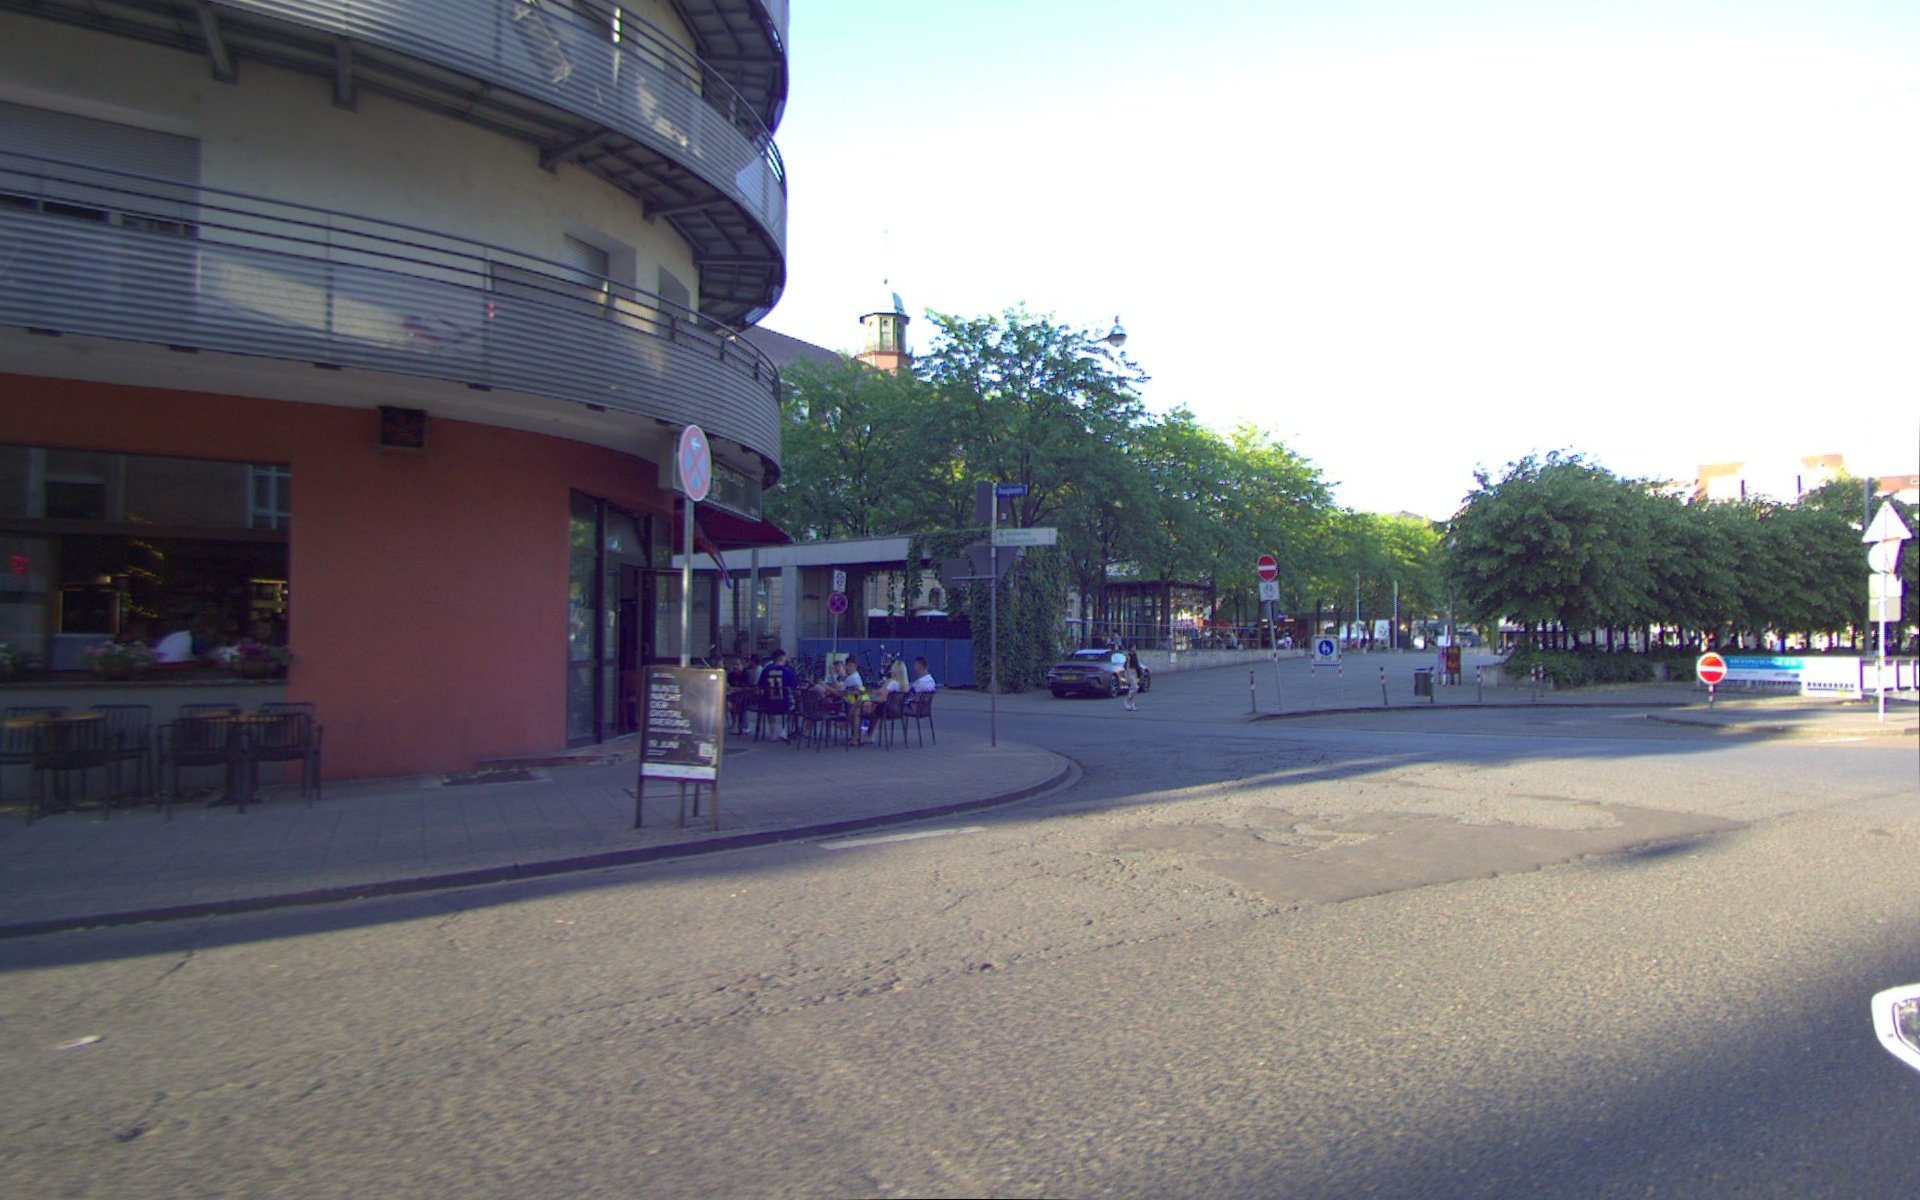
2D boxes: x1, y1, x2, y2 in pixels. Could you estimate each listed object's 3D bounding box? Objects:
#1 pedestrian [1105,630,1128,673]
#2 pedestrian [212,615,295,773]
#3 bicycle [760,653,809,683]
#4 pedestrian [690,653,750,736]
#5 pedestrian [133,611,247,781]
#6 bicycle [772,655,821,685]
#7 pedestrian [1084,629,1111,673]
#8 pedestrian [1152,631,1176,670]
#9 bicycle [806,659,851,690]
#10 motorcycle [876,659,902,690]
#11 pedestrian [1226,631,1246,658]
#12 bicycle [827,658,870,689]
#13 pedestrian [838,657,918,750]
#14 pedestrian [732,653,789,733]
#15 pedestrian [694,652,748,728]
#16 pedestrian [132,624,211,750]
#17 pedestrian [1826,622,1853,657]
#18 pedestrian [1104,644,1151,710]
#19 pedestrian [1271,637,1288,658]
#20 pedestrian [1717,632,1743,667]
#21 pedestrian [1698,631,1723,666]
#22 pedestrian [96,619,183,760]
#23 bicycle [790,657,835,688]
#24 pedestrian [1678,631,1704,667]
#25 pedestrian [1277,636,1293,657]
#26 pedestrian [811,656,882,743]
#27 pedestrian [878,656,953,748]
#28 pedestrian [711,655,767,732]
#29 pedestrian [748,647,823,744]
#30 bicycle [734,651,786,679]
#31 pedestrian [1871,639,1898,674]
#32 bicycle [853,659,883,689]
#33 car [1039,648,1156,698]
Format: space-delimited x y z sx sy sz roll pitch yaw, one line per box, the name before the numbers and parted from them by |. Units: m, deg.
pedestrian | 6.005 1.983 38.600 0.612 1.607 0.699 -1 -4 37
pedestrian | -7.560 0.994 10.778 0.591 1.615 0.669 3 -3 -29
bicycle | -6.078 2.352 34.876 0.503 0.935 1.796 -1 -1 39
pedestrian | -3.814 1.488 15.951 0.696 1.263 0.615 3 -4 -39
pedestrian | -7.656 0.945 10.026 0.741 1.615 0.594 3 -3 -28
bicycle | -5.596 2.391 34.475 0.503 0.935 1.796 -1 -1 39
pedestrian | 5.135 1.914 37.428 0.679 1.607 0.767 -1 -4 37
pedestrian | 8.521 2.095 41.855 0.778 1.607 0.652 -1 -4 36
bicycle | -4.369 2.456 33.494 0.502 0.935 1.801 -1 -1 30
motorcycle | -2.248 2.378 32.143 0.500 0.892 1.806 0 -1 7
pedestrian | 13.350 2.167 48.630 0.778 1.296 0.652 -1 -4 36
bicycle | -3.668 2.415 33.207 0.501 0.935 1.802 -1 -1 27
pedestrian | -1.166 1.441 14.233 0.761 1.258 0.891 3 -4 -38
pedestrian | -3.271 1.512 16.471 0.696 1.263 0.615 3 -4 -39
pedestrian | -4.238 1.582 17.819 0.696 1.304 0.615 3 -4 -39
pedestrian | -9.581 1.051 12.229 0.591 1.477 0.669 3 -3 -29
pedestrian | 40.903 1.837 46.725 0.665 1.616 0.678 1 -1 -10
pedestrian | 4.144 1.892 24.846 0.886 1.587 0.765 -2 -2 36
pedestrian | 16.874 2.503 53.041 0.704 1.073 0.609 -1 -2 36
pedestrian | 36.061 2.316 47.052 0.558 1.616 0.791 1 -1 -10
pedestrian | 35.875 2.308 48.046 0.558 1.616 0.791 1 -1 -10
pedestrian | -9.331 1.008 11.449 0.591 1.538 0.669 3 -3 -29
bicycle | -4.965 2.439 33.922 0.502 0.935 1.801 -1 -1 30
pedestrian | 33.528 2.250 46.066 0.558 1.616 0.791 1 -1 -10
pedestrian | 17.384 2.482 53.748 0.704 1.134 0.609 -1 -2 36
pedestrian | -1.736 1.503 15.331 0.821 1.263 0.717 3 -4 -36
pedestrian | -0.654 1.477 14.713 0.742 1.289 0.820 3 -4 -38
pedestrian | -3.734 1.568 16.944 0.696 1.263 0.615 3 -4 -39
pedestrian | -2.560 1.389 14.748 0.821 1.365 0.741 3 -4 -36
bicycle | -7.155 2.320 35.940 1.775 0.935 0.509 0 -1 -17
pedestrian | 43.885 2.685 47.675 0.665 1.616 0.678 1 -1 -10
bicycle | -2.978 2.394 32.691 0.500 0.892 1.806 -1 -1 10
car | 4.224 2.154 30.265 1.964 1.335 4.520 -2 -3 30
